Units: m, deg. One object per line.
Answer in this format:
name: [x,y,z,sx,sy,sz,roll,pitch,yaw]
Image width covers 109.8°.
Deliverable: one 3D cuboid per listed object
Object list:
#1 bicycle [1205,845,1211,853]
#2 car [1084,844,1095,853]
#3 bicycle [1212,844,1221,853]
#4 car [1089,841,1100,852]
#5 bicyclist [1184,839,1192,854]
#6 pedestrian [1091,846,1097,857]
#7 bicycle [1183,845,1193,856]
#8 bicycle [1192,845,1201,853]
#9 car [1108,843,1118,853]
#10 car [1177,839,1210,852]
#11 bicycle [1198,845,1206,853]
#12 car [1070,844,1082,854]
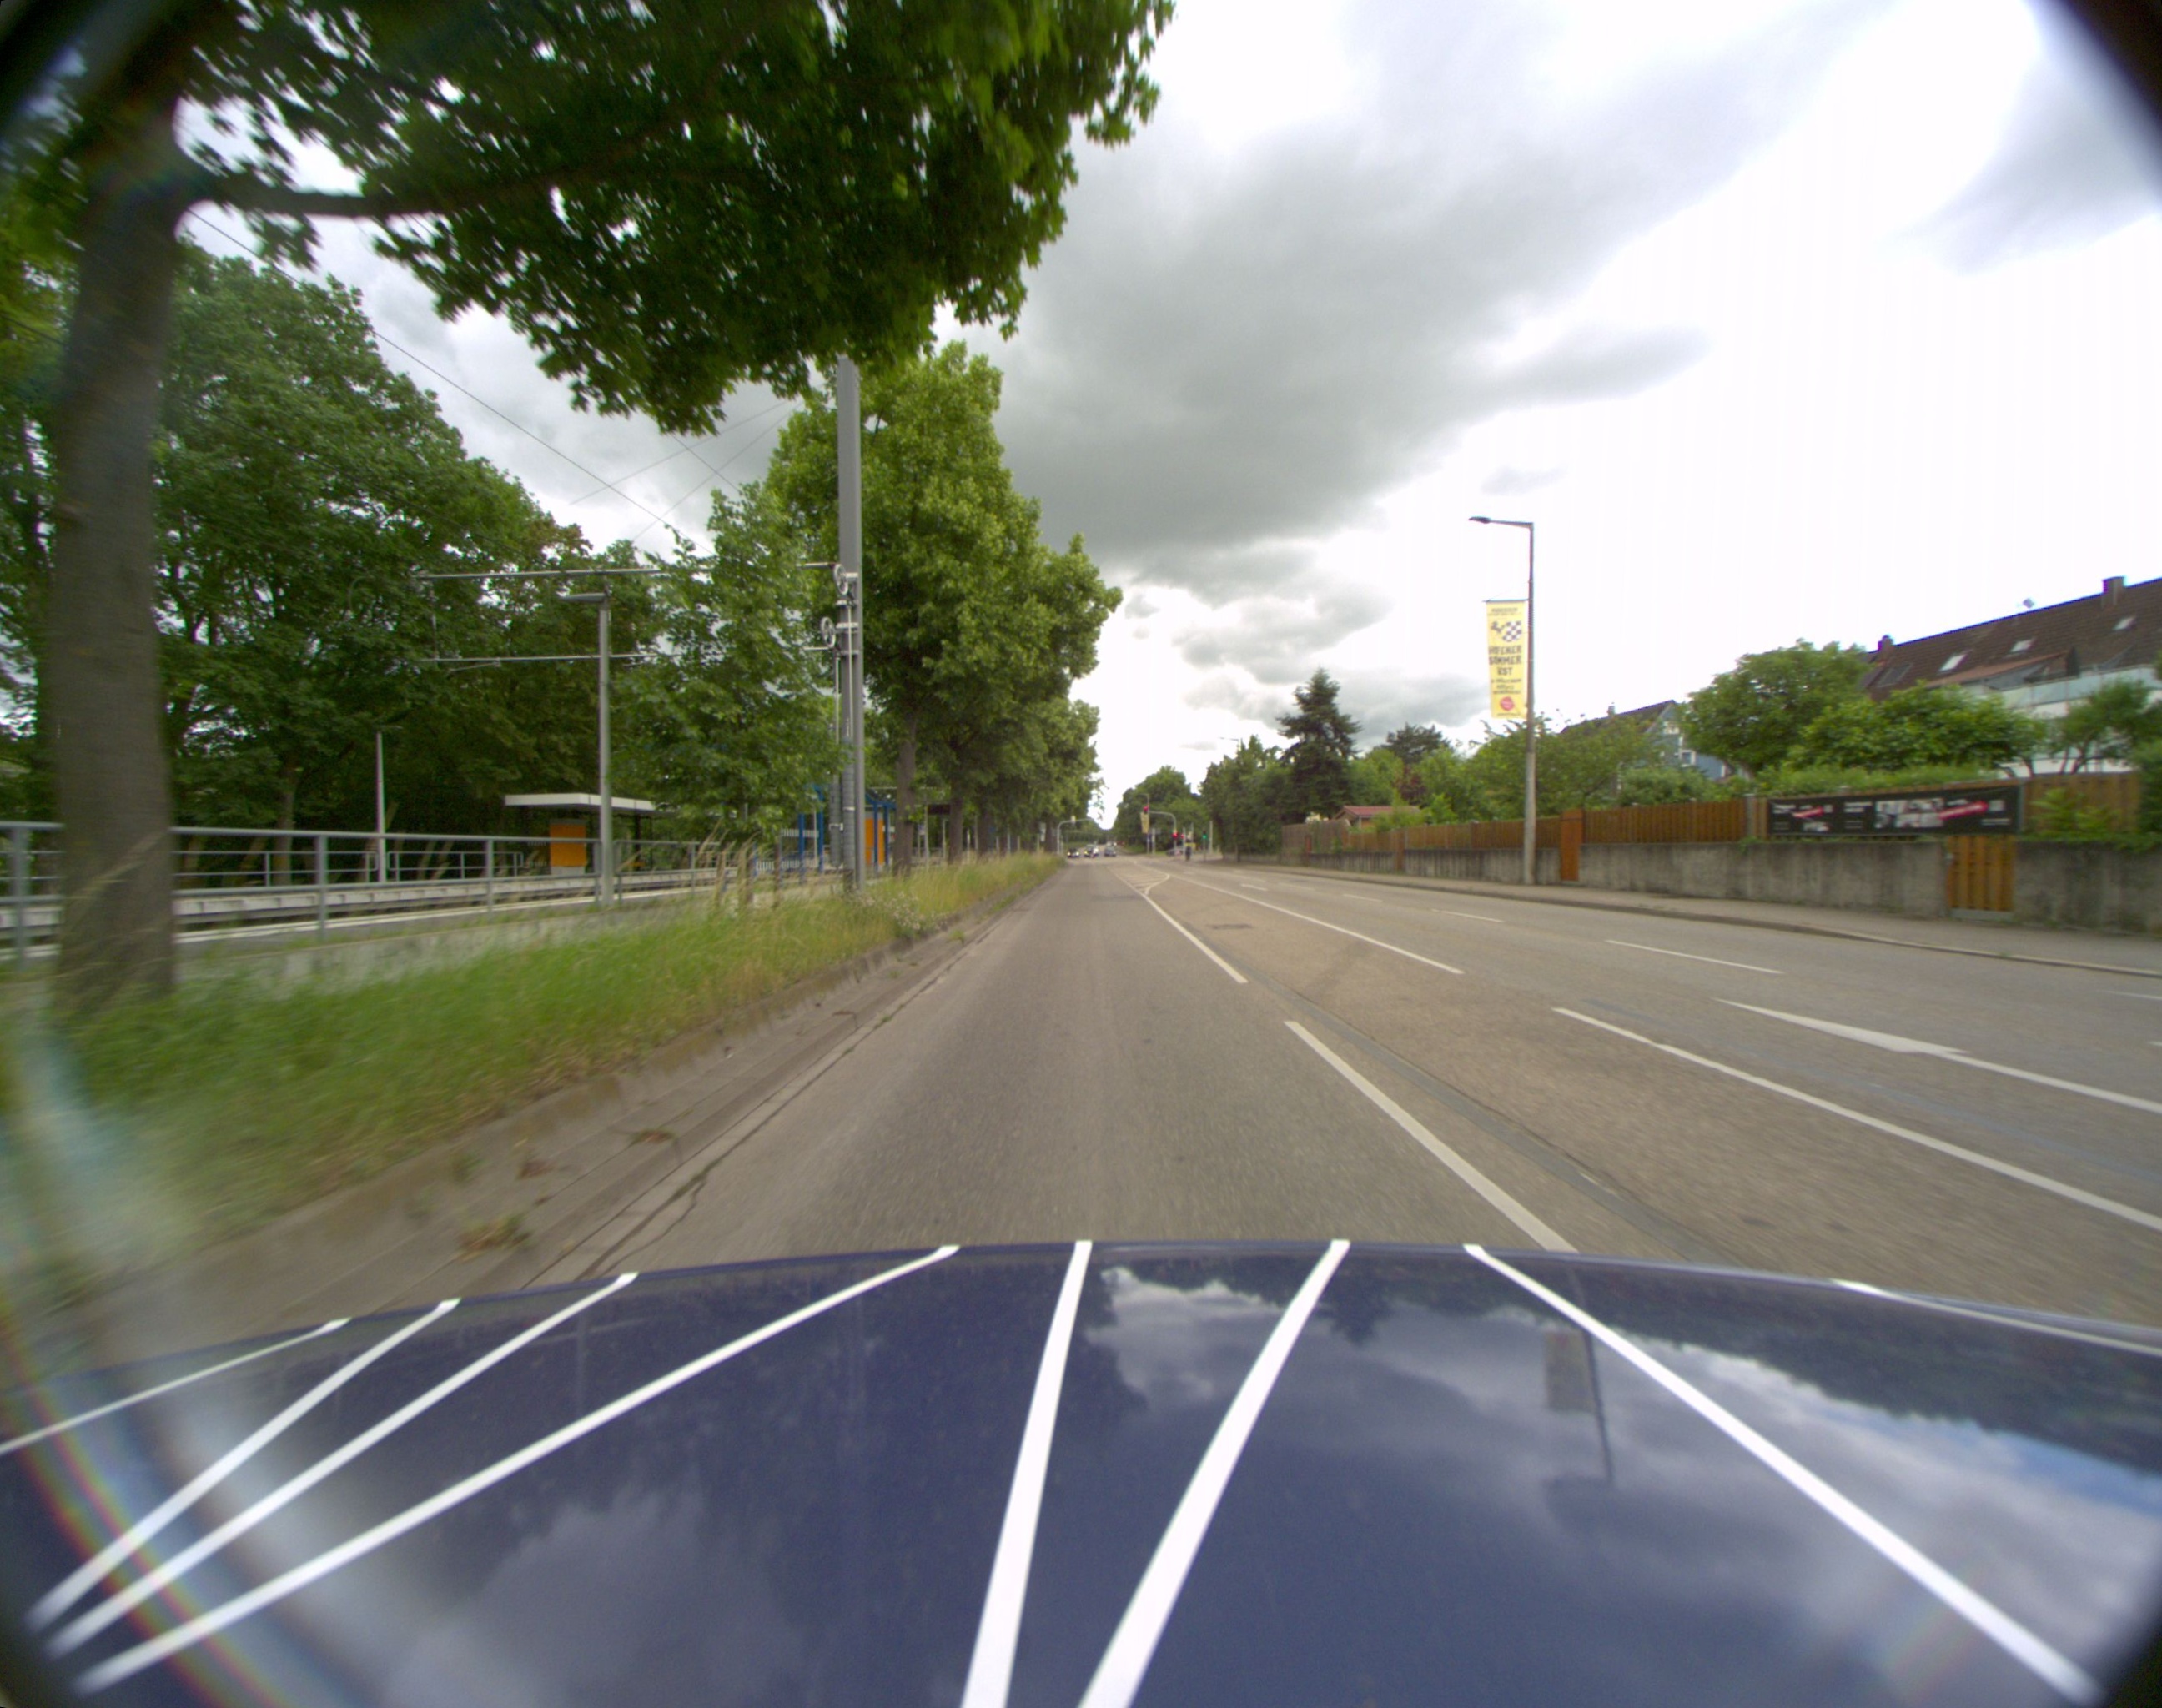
bicycle: [20.887,-0.864,125.032,0.544,1.245,1.937,-2,2,17]
car: [1.429,-0.911,122.437,1.708,1.472,3.666,-1,1,0]
bicycle: [22.184,-0.906,124.403,0.544,1.245,1.939,-1,2,34]
car: [2.351,-1.269,132.993,1.912,1.832,5.280,-1,1,1]
bicyclist: [11.607,-0.819,82.343,0.644,1.526,0.978,-3,1,-4]
pedestrian: [1.888,-0.367,113.042,0.753,1.727,0.840,2,2,5]
bicycle: [11.601,-0.423,82.435,0.644,1.138,2.146,-3,1,-4]
bicycle: [19.177,-0.809,125.894,0.544,1.245,1.939,-1,2,38]
car: [5.187,-0.973,123.421,1.560,1.458,3.807,1,1,1]
car: [17.613,-1.314,118.925,4.733,1.842,2.003,-1,2,36]
bicycle: [19.978,-0.834,125.430,0.544,1.245,1.939,-1,2,38]
car: [-0.767,-0.824,120.410,1.807,1.520,3.928,-2,1,2]
